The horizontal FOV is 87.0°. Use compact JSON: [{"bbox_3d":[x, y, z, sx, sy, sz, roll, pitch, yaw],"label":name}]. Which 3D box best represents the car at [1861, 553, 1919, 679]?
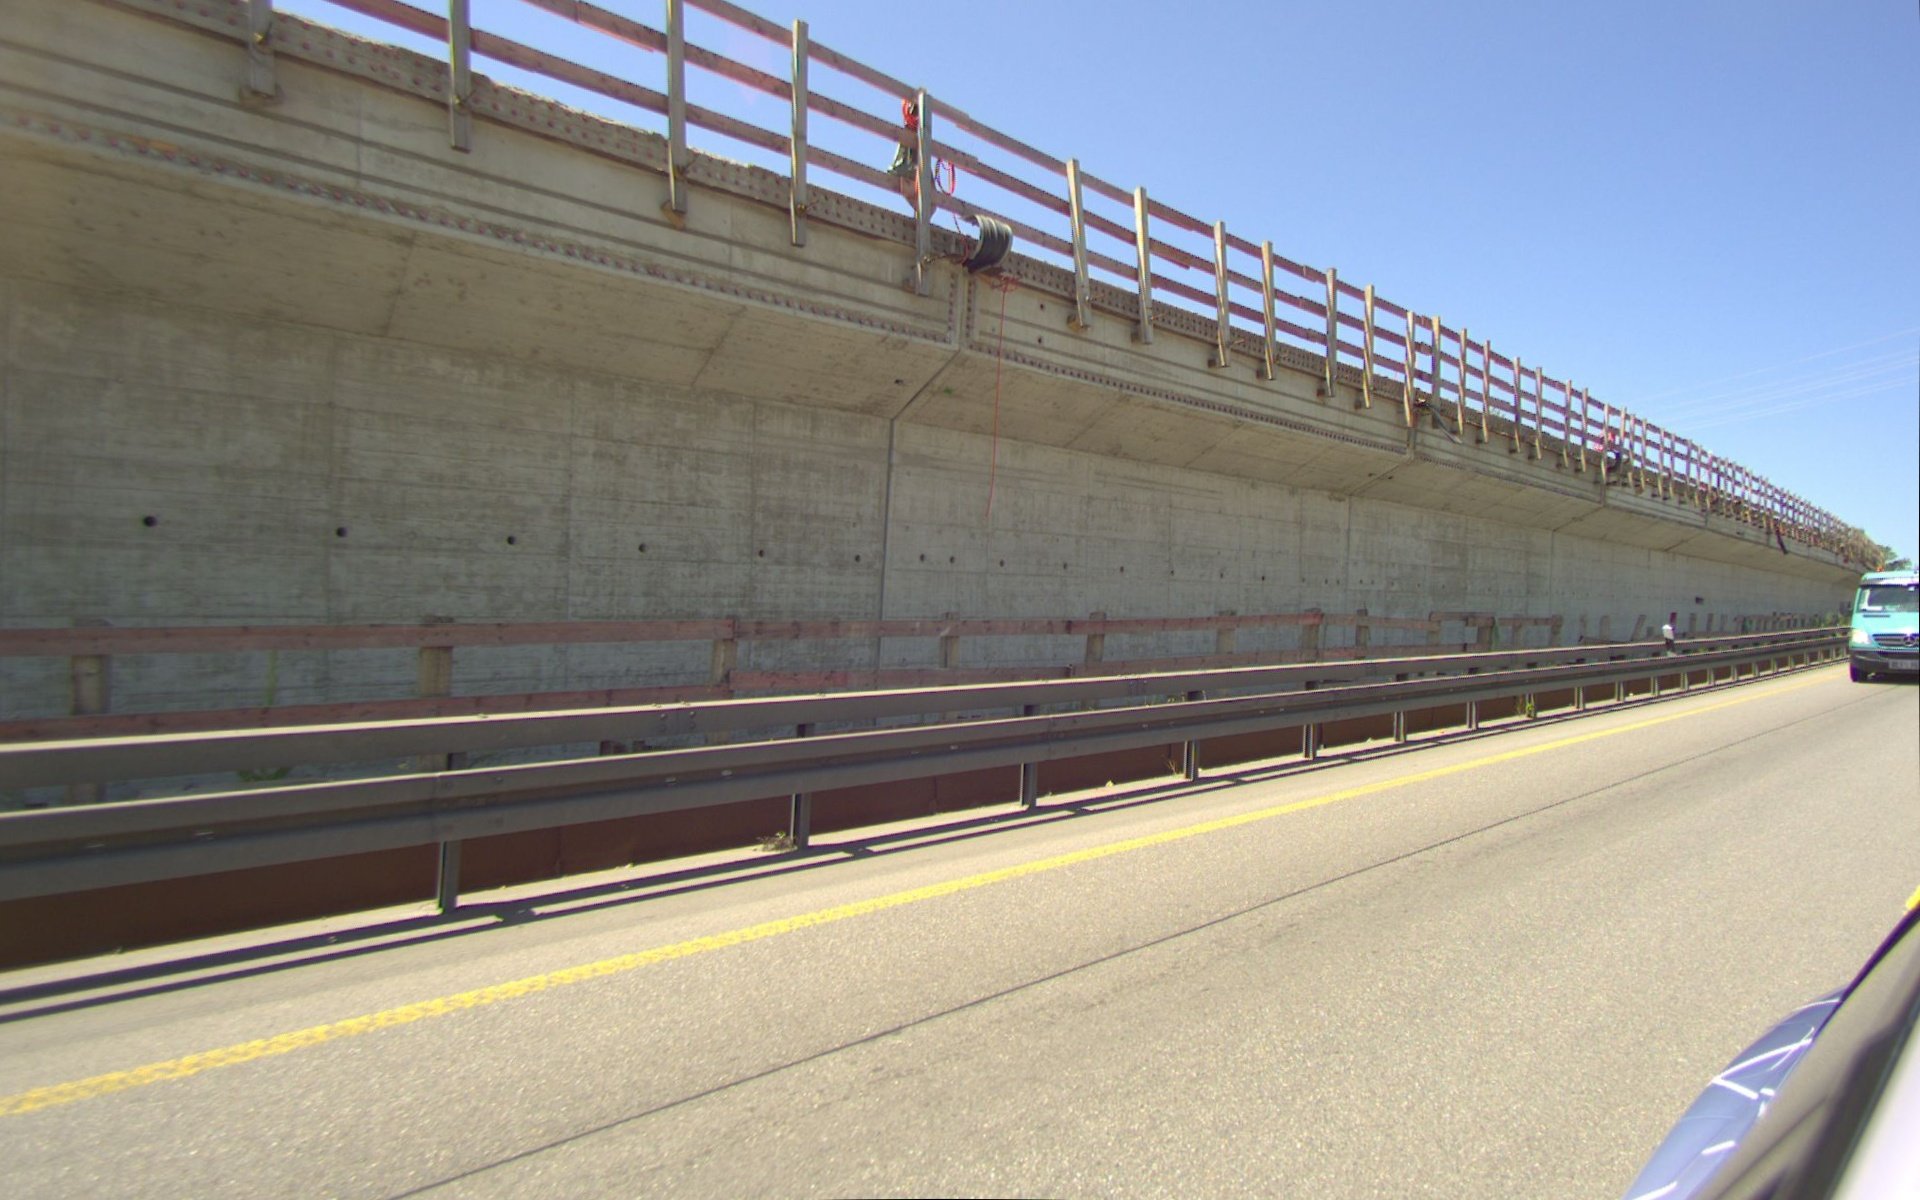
[{"bbox_3d":[21.162,0.304,21.716,7.086,2.411,1.966,0,-1,-42],"label":"car"}]
